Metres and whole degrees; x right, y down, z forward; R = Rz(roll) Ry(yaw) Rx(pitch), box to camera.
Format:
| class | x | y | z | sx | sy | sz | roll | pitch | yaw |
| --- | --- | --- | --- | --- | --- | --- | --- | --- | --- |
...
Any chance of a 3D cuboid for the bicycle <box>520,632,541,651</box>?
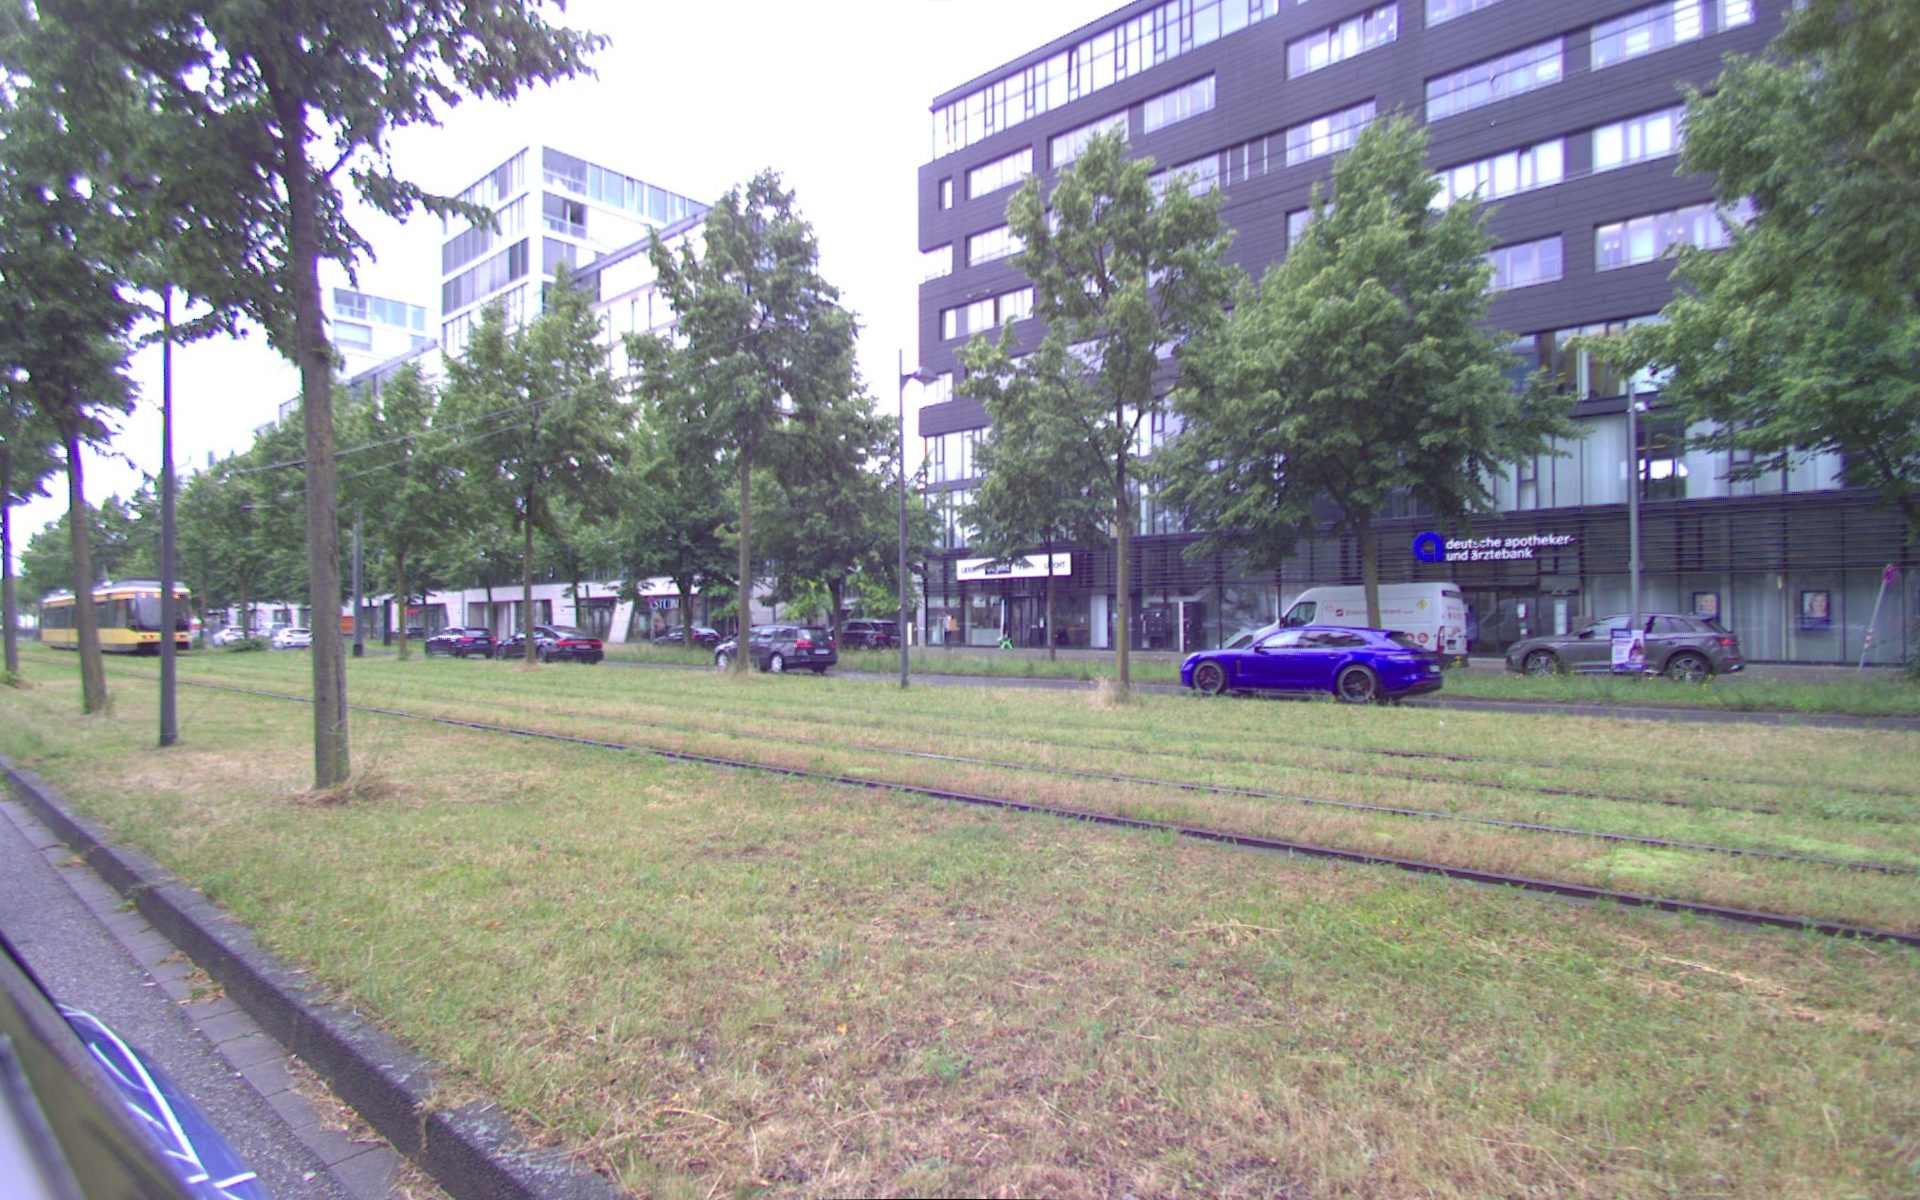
| class | x | y | z | sx | sy | sz | roll | pitch | yaw |
| --- | --- | --- | --- | --- | --- | --- | --- | --- | --- |
| bicycle | -34.087 | 3.296 | 80.292 | 0.546 | 1.494 | 1.417 | -2 | -1 | 40 |

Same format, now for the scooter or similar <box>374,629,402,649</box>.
| class | x | y | z | sx | sy | sz | roll | pitch | yaw |
| --- | --- | --- | --- | --- | --- | --- | --- | --- | --- |
| scooter or similar | -53.621 | 3.665 | 94.888 | 0.884 | 1.838 | 2.104 | -2 | -1 | 37 |

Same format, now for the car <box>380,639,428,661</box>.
| class | x | y | z | sx | sy | sz | roll | pitch | yaw |
| --- | --- | --- | --- | --- | --- | --- | --- | --- | --- |
| car | -40.156 | 3.599 | 73.070 | 3.986 | 1.476 | 1.835 | -2 | -2 | 41 |

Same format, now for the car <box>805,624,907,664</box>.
| class | x | y | z | sx | sy | sz | roll | pitch | yaw |
| --- | --- | --- | --- | --- | --- | --- | --- | --- | --- |
| car | -4.225 | 1.741 | 40.691 | 4.240 | 1.460 | 1.684 | -2 | -1 | 42 |

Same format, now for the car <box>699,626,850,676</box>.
| class | x | y | z | sx | sy | sz | roll | pitch | yaw |
| --- | --- | --- | --- | --- | --- | --- | --- | --- | --- |
| car | -5.727 | 1.520 | 30.920 | 4.870 | 1.390 | 1.973 | -2 | -1 | 41 |

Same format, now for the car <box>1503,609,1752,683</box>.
| class | x | y | z | sx | sy | sz | roll | pitch | yaw |
| --- | --- | --- | --- | --- | --- | --- | --- | --- | --- |
| car | 15.354 | 1.026 | 23.417 | 4.604 | 1.533 | 1.973 | -2 | -1 | 41 |

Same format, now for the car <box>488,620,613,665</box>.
| class | x | y | z | sx | sy | sz | roll | pitch | yaw |
| --- | --- | --- | --- | --- | --- | --- | --- | --- | --- |
| car | -13.997 | 1.412 | 34.443 | 4.870 | 1.390 | 1.973 | -1 | -1 | 41 |

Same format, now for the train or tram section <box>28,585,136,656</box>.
| class | x | y | z | sx | sy | sz | roll | pitch | yaw |
| --- | --- | --- | --- | --- | --- | --- | --- | --- | --- |
| train or tram section | -50.818 | 1.213 | 58.364 | 13.401 | 3.687 | 3.096 | -2 | -1 | 42 |

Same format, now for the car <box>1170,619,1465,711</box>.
| class | x | y | z | sx | sy | sz | roll | pitch | yaw |
| --- | --- | --- | --- | --- | --- | --- | --- | --- | --- |
| car | 6.787 | 1.176 | 19.590 | 5.008 | 1.533 | 1.973 | -2 | -1 | 41 |

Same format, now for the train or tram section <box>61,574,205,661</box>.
| class | x | y | z | sx | sy | sz | roll | pitch | yaw |
| --- | --- | --- | --- | --- | --- | --- | --- | --- | --- |
| train or tram section | -40.262 | 0.915 | 48.914 | 15.058 | 3.687 | 3.096 | -2 | -1 | 42 |

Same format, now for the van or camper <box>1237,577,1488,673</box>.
| class | x | y | z | sx | sy | sz | roll | pitch | yaw |
| --- | --- | --- | --- | --- | --- | --- | --- | --- | --- |
| van or camper | 10.825 | 0.683 | 27.556 | 5.848 | 2.333 | 2.407 | -2 | -1 | 42 |

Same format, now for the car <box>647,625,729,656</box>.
| class | x | y | z | sx | sy | sz | roll | pitch | yaw |
| --- | --- | --- | --- | --- | --- | --- | --- | --- | --- |
| car | -13.236 | 1.943 | 49.151 | 3.999 | 1.389 | 1.972 | -2 | -1 | 42 |

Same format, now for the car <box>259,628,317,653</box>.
| class | x | y | z | sx | sy | sz | roll | pitch | yaw |
| --- | --- | --- | --- | --- | --- | --- | --- | --- | --- |
| car | -44.310 | 2.647 | 66.705 | 4.869 | 1.533 | 1.973 | -2 | -1 | 41 |

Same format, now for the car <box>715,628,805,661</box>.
| class | x | y | z | sx | sy | sz | roll | pitch | yaw |
| --- | --- | --- | --- | --- | --- | --- | --- | --- | --- |
| car | -8.976 | 1.959 | 45.291 | 3.999 | 1.389 | 1.972 | -2 | -1 | 42 |

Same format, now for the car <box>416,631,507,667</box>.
| class | x | y | z | sx | sy | sz | roll | pitch | yaw |
| --- | --- | --- | --- | --- | --- | --- | --- | --- | --- |
| car | -22.781 | 2.212 | 46.163 | 4.870 | 1.533 | 1.973 | -2 | -1 | 41 |

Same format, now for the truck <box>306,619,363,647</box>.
| class | x | y | z | sx | sy | sz | roll | pitch | yaw |
| --- | --- | --- | --- | --- | --- | --- | --- | --- | --- |
| truck | -53.060 | 2.804 | 85.762 | 6.306 | 2.309 | 2.401 | -2 | -2 | 42 |
